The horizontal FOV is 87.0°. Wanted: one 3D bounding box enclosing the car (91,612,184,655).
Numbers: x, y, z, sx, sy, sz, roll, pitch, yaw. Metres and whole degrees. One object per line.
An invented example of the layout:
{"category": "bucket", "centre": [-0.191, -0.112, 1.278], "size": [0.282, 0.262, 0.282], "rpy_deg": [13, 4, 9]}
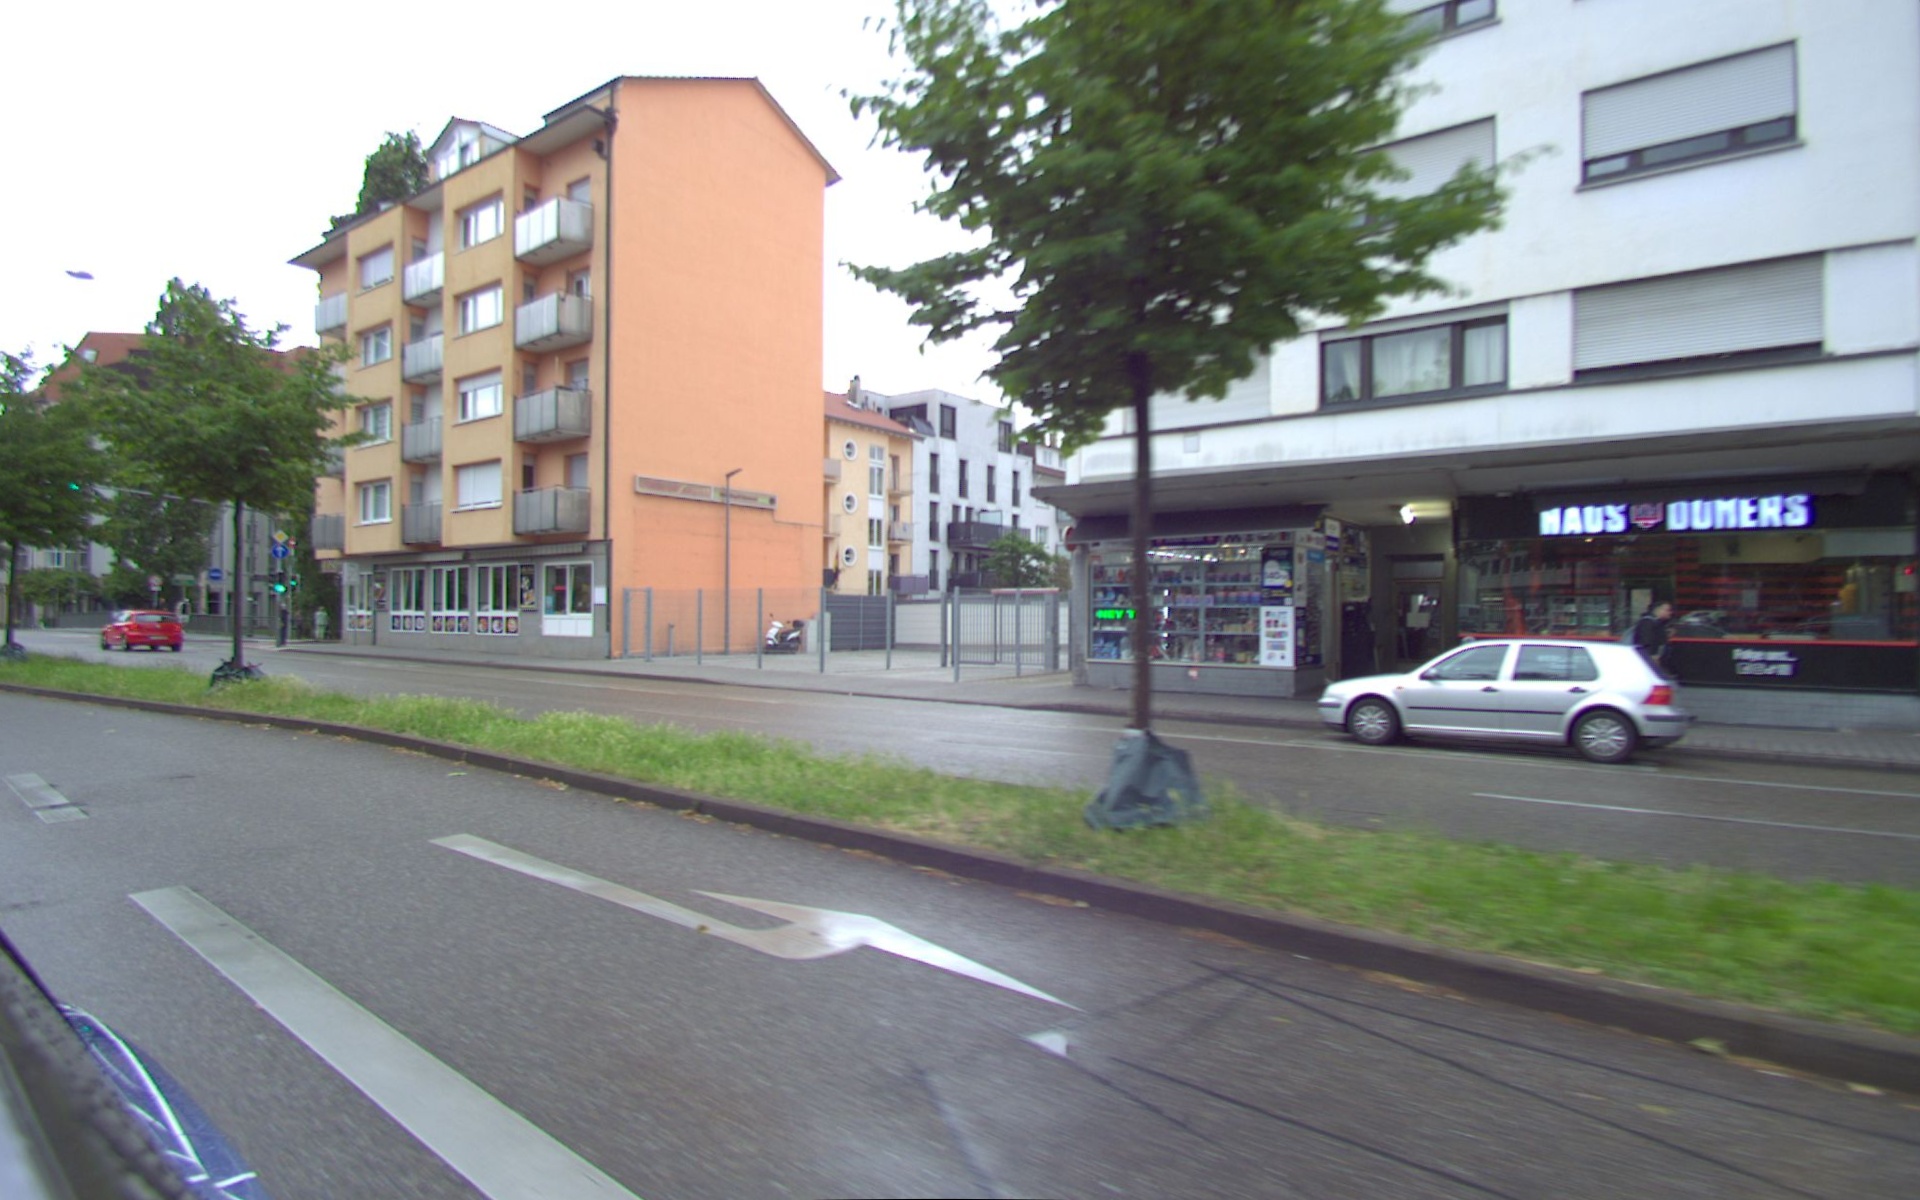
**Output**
{"category": "car", "centre": [-29.722, 1.190, 36.531], "size": [3.937, 1.441, 1.589], "rpy_deg": [0, -3, 36]}

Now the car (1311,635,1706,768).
{"category": "car", "centre": [6.735, 1.162, 12.658], "size": [4.145, 1.402, 1.660], "rpy_deg": [-1, -4, 37]}

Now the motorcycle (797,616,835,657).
{"category": "motorcycle", "centre": [-5.287, 1.354, 37.249], "size": [0.396, 1.473, 1.449], "rpy_deg": [0, -4, 38]}

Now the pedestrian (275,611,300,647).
{"category": "pedestrian", "centre": [-27.831, 1.188, 41.885], "size": [0.604, 1.452, 0.557], "rpy_deg": [-2, 2, 19]}

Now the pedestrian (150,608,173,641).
{"category": "pedestrian", "centre": [-42.093, 1.270, 53.358], "size": [0.798, 1.708, 0.758], "rpy_deg": [0, -1, 35]}

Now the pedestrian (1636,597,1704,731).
{"category": "pedestrian", "centre": [9.732, 0.856, 13.871], "size": [0.660, 1.742, 0.770], "rpy_deg": [-2, 1, 40]}

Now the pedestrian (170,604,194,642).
{"category": "pedestrian", "centre": [-39.181, 1.139, 50.943], "size": [0.798, 1.901, 0.738], "rpy_deg": [-1, -2, 35]}

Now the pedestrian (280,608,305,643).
{"category": "pedestrian", "centre": [-32.790, 1.259, 49.737], "size": [0.675, 1.704, 0.745], "rpy_deg": [0, -1, 6]}

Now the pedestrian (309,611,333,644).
{"category": "pedestrian", "centre": [-31.515, 1.355, 49.940], "size": [0.736, 1.661, 0.683], "rpy_deg": [0, -1, 1]}
